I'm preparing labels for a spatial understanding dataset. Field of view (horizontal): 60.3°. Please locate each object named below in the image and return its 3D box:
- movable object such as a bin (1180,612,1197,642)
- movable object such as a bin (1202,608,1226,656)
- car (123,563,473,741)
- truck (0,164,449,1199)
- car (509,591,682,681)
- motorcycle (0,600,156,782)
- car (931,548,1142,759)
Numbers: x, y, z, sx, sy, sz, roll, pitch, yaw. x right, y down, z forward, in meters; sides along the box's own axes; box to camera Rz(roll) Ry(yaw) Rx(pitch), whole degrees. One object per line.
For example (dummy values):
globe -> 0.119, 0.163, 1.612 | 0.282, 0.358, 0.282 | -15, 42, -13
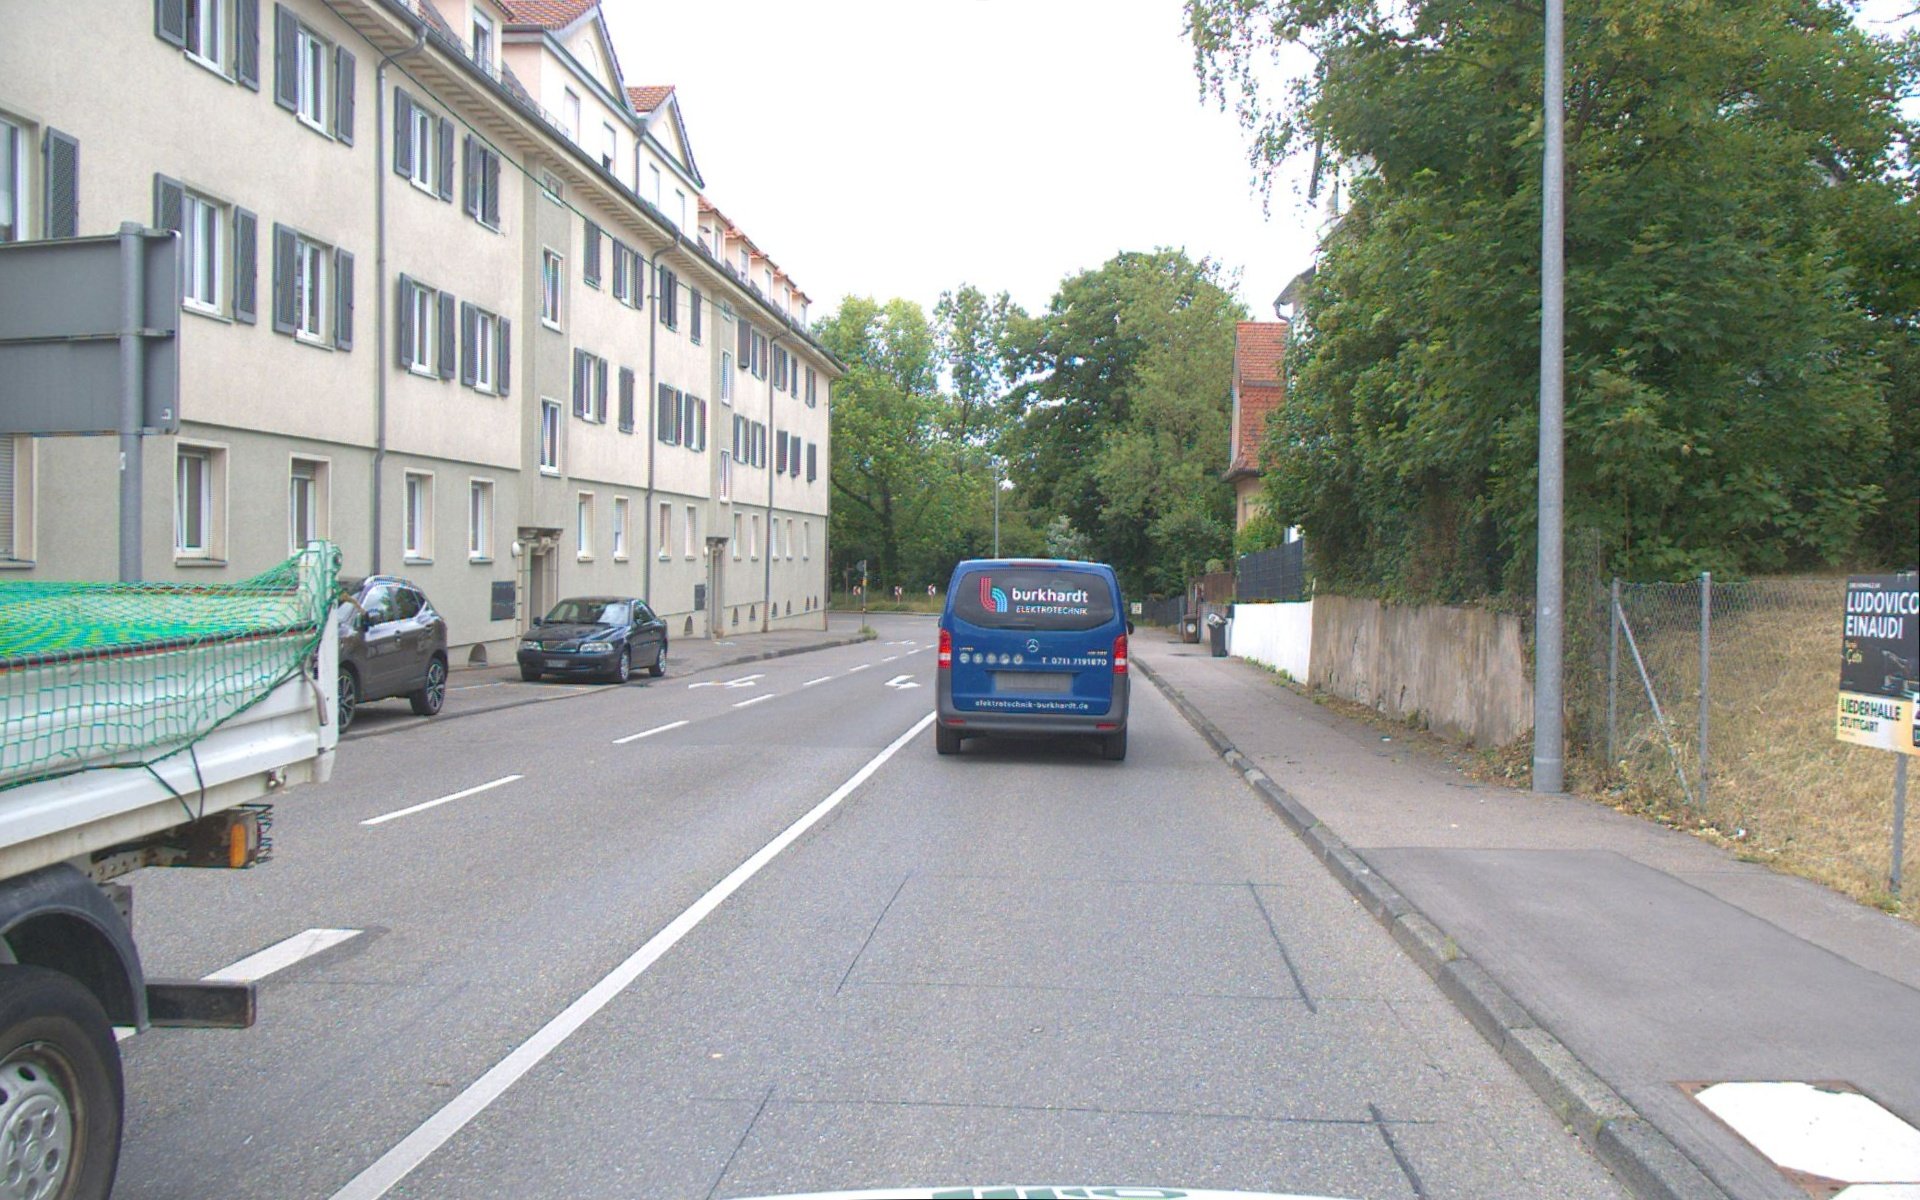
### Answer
movable object such as a bin -> 7.338, 0.876, 53.144 | 0.451, 0.940, 0.566 | -3, 0, 3
movable object such as a bin -> 6.575, 0.816, 42.818 | 0.517, 1.198, 0.634 | -3, 0, 3
car -> -7.089, 0.486, 18.322 | 1.784, 1.661, 4.698 | 2, 0, 2
truck -> -2.883, 0.306, 1.862 | 2.076, 2.239, 6.593 | 2, 0, 4
car -> -6.259, 0.624, 28.958 | 1.674, 1.428, 4.847 | 1, -1, 3
motorcycle -> -7.351, 0.678, 13.239 | 0.612, 1.313, 2.231 | 2, 0, 2
car -> 0.750, 0.502, 17.072 | 1.874, 1.870, 4.294 | 1, 0, 2
